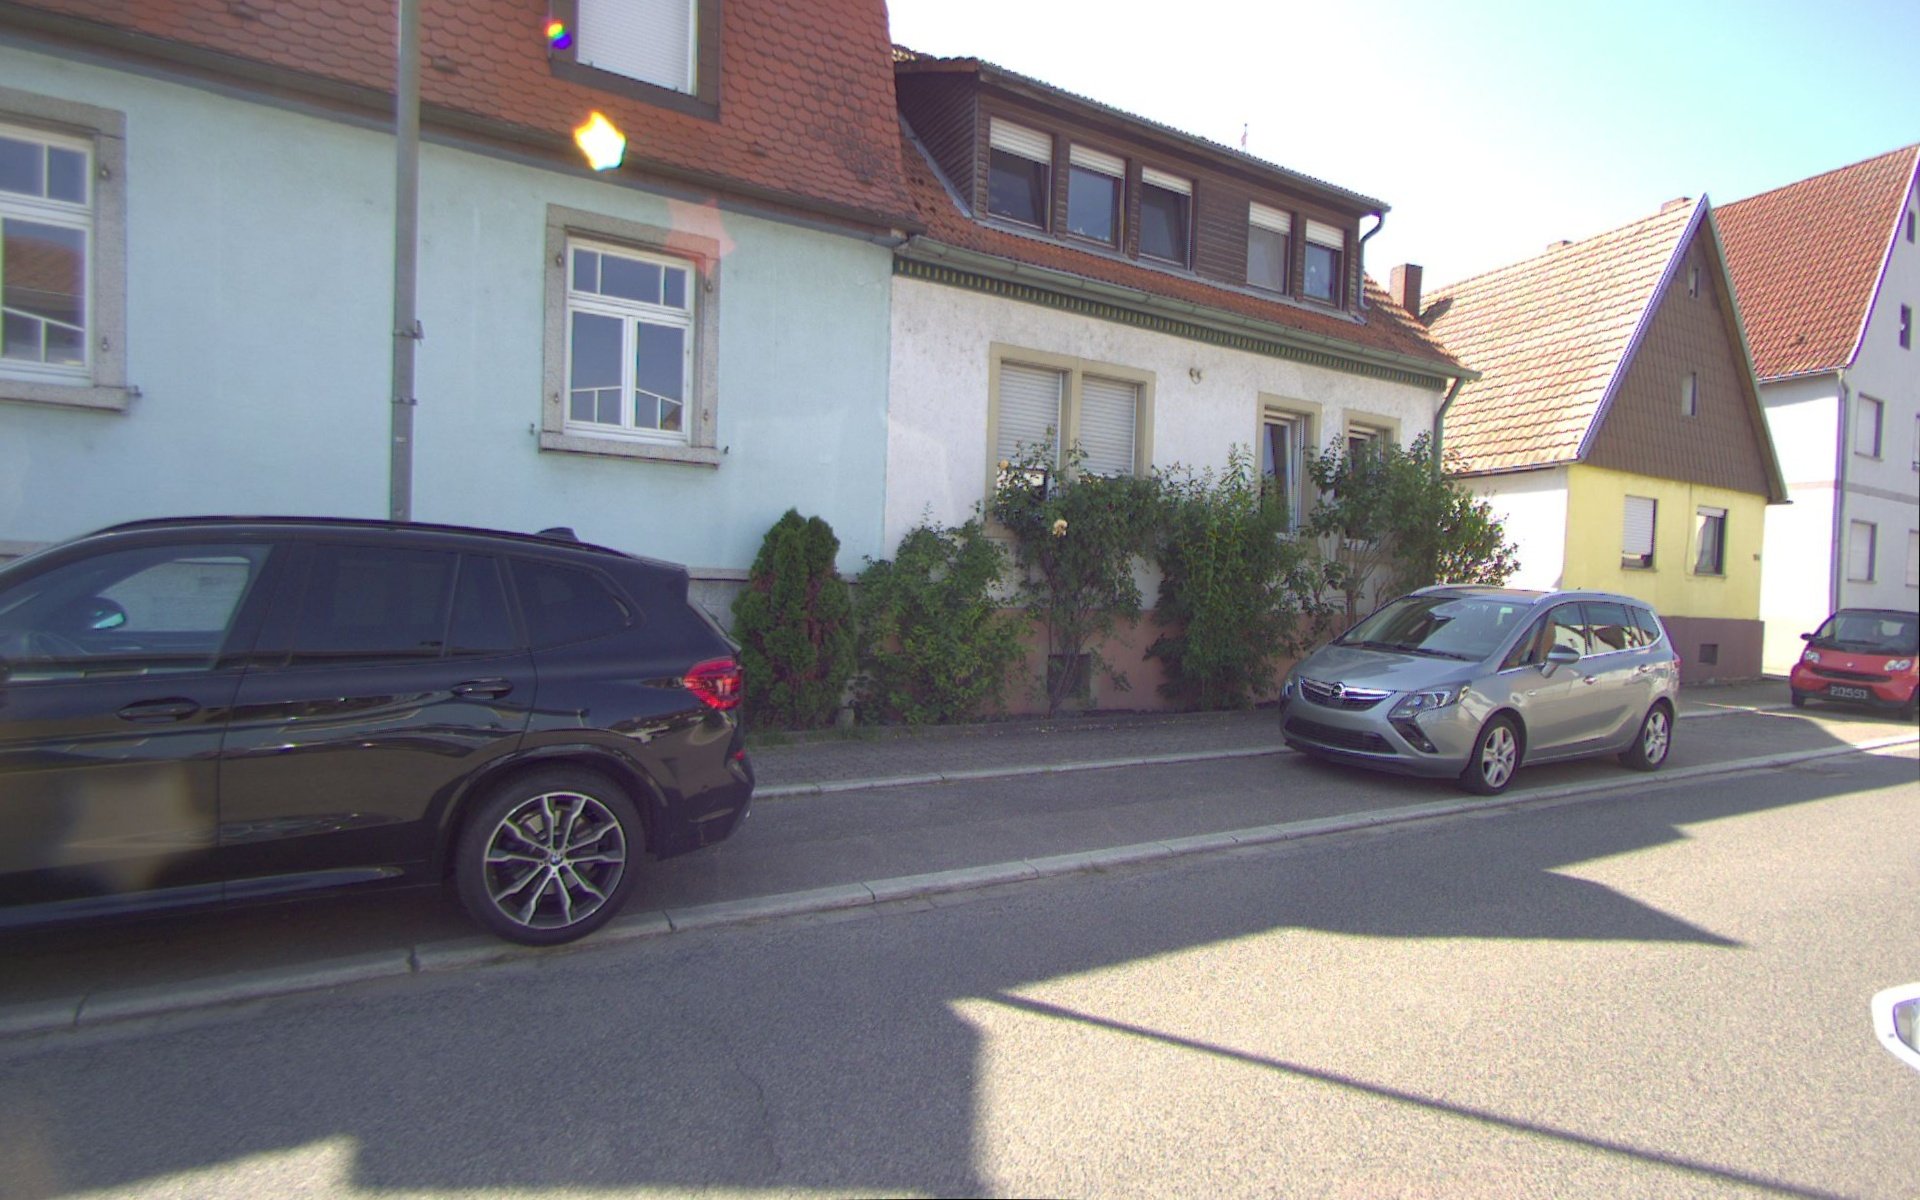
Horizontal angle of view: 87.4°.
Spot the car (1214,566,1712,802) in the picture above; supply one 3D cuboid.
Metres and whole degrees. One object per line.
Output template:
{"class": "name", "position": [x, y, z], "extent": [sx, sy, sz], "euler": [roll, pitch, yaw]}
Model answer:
{"class": "car", "position": [4.690, 0.628, 9.179], "extent": [4.611, 1.659, 1.863], "euler": [2, 2, -32]}

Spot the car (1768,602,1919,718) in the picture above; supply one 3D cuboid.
{"class": "car", "position": [14.134, 0.886, 15.568], "extent": [2.954, 1.565, 1.544], "euler": [1, 2, -32]}

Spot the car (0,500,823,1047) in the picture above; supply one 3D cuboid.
{"class": "car", "position": [-3.094, 0.488, 4.102], "extent": [4.615, 1.690, 1.908], "euler": [2, 3, -33]}
